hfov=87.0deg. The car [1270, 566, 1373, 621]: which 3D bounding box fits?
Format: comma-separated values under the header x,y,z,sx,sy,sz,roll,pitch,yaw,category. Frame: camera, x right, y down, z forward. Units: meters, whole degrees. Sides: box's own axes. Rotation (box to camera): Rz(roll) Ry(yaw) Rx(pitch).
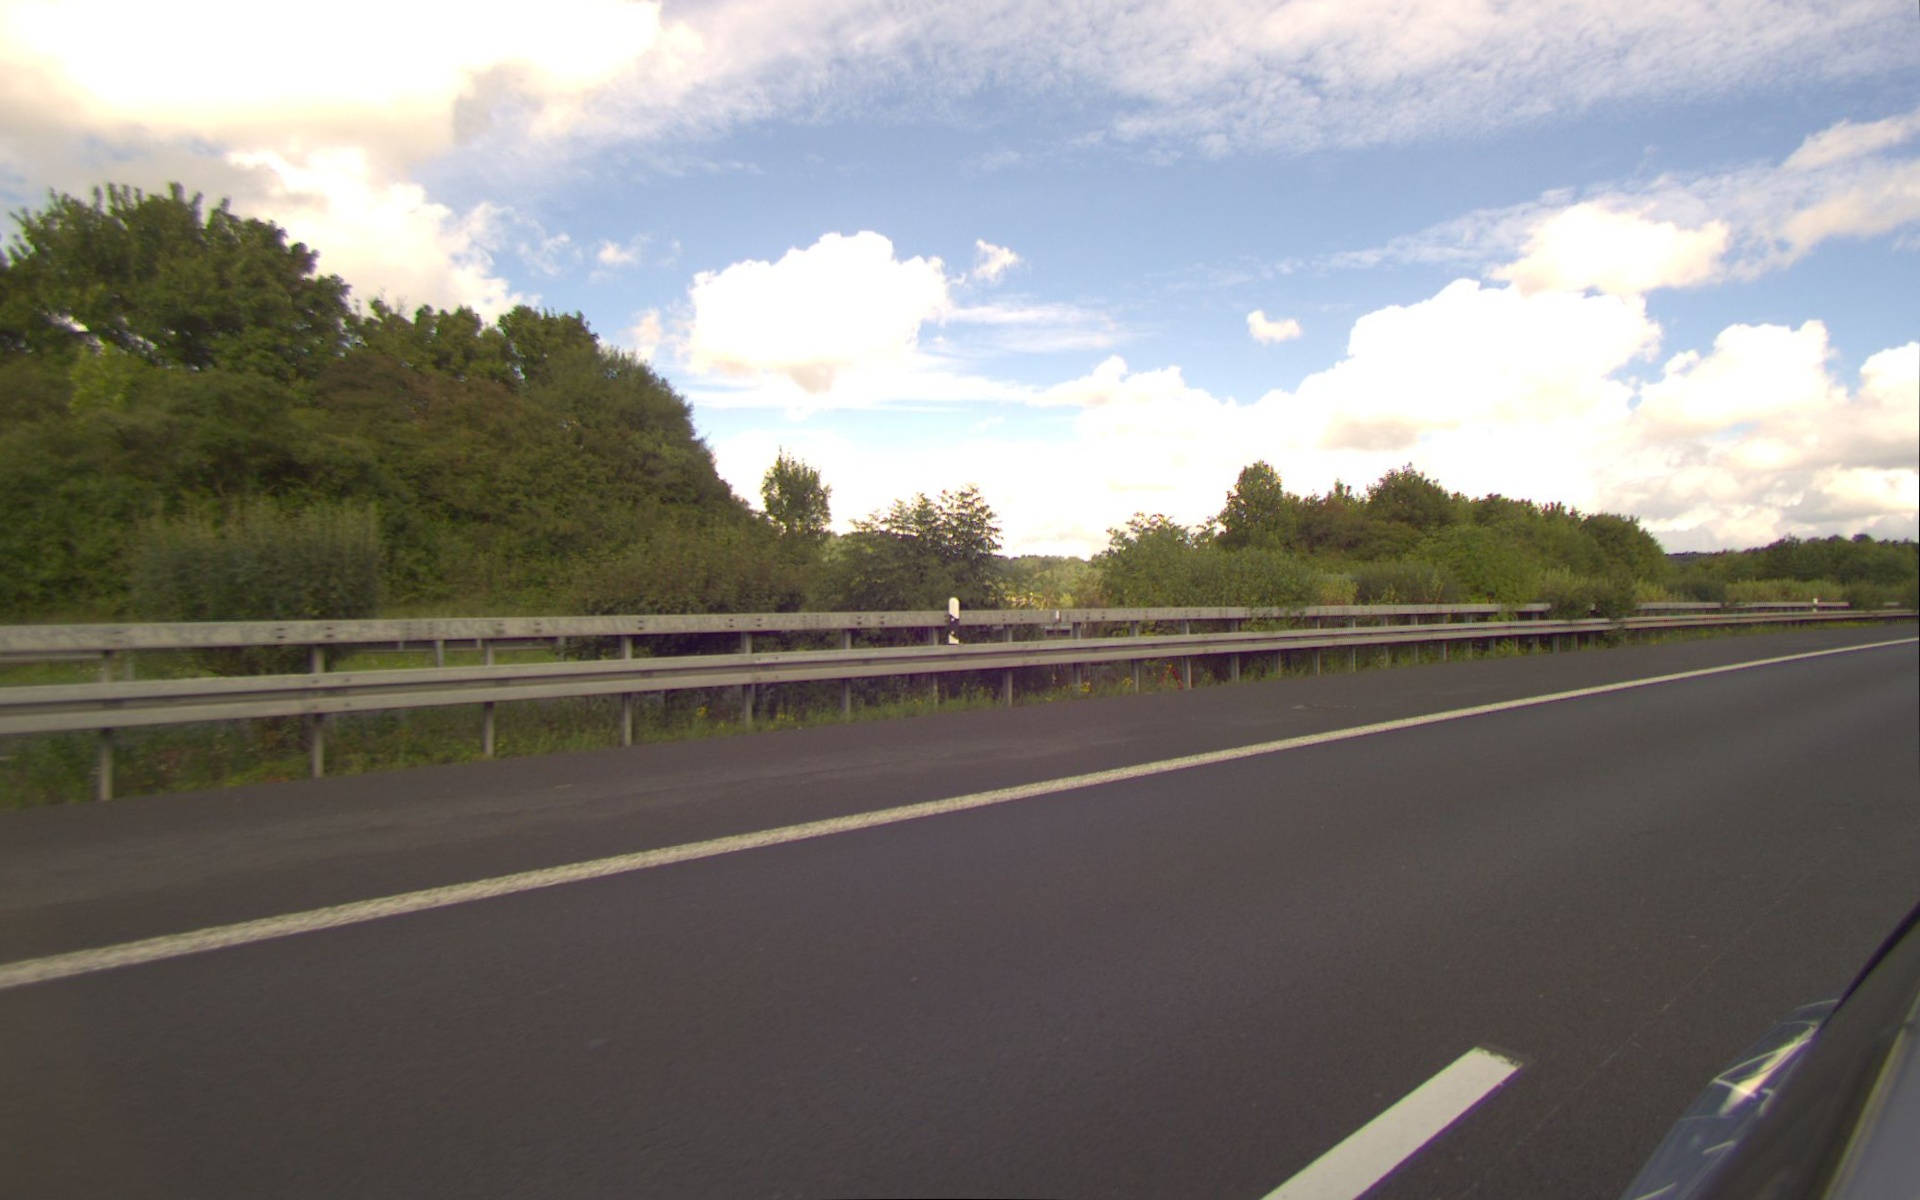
x,y,z,sx,sy,sz,roll,pitch,yaw,category
15.509,-0.262,43.294,5.041,2.213,1.996,0,0,-43,car
